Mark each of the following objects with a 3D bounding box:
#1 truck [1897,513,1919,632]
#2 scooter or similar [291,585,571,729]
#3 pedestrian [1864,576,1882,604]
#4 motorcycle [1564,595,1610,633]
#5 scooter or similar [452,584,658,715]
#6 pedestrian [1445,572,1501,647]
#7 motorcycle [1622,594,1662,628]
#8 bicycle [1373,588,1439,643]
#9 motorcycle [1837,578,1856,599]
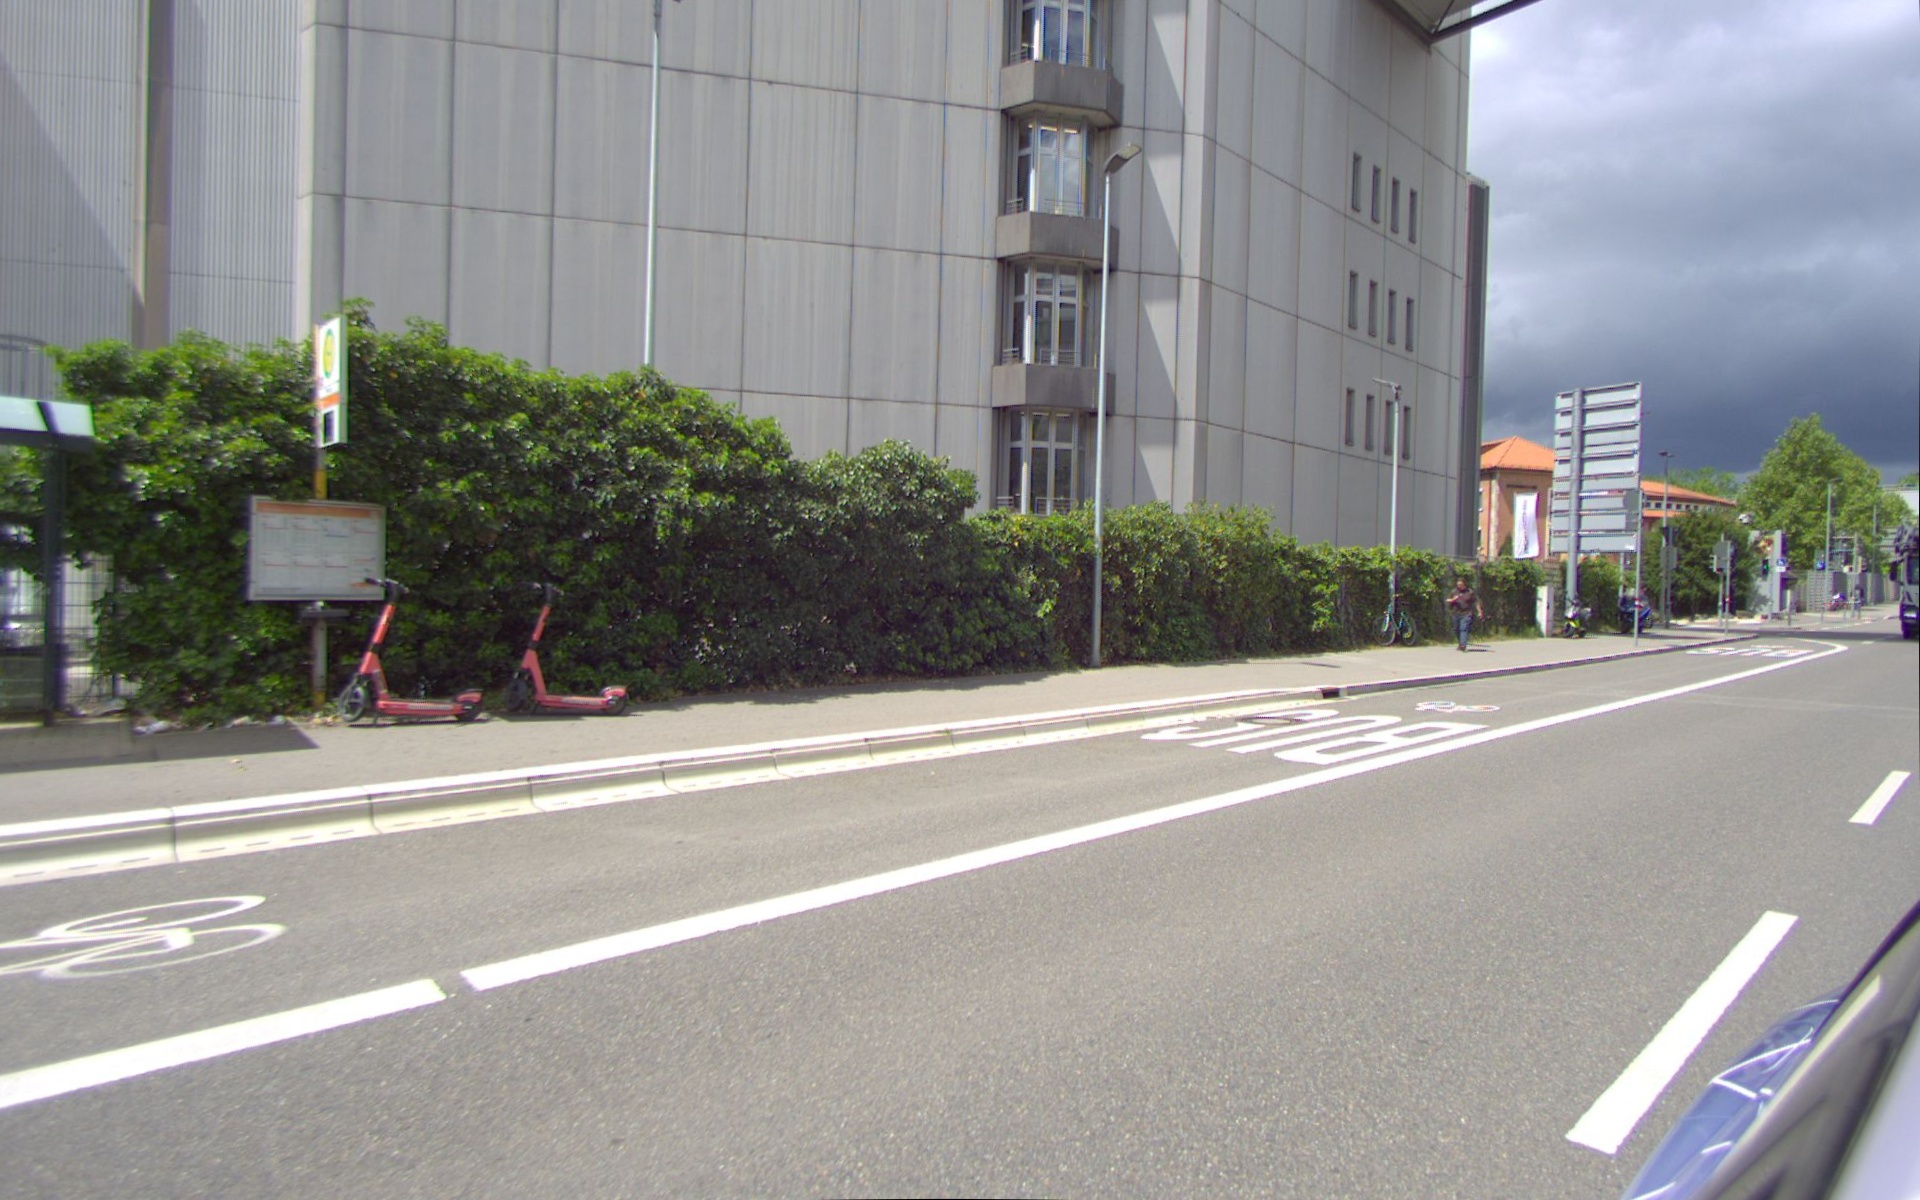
[{"bbox_3d":[36.241,-0.983,36.291,10.553,3.934,2.711,-1,1,-41],"label":"truck"},{"bbox_3d":[-4.545,0.479,8.827,2.083,1.177,0.544,1,1,-14],"label":"scooter or similar"},{"bbox_3d":[57.785,-0.636,64.073,0.998,1.788,0.728,-1,0,-41],"label":"pedestrian"},{"bbox_3d":[18.658,0.404,30.097,2.002,1.080,0.592,-1,2,-41],"label":"motorcycle"},{"bbox_3d":[-3.816,0.455,9.648,1.754,1.177,0.544,1,1,-14],"label":"scooter or similar"},{"bbox_3d":[11.764,0.197,23.216,0.981,1.665,0.810,-1,3,-43],"label":"pedestrian"},{"bbox_3d":[22.922,0.354,33.985,2.002,1.080,0.592,0,3,-41],"label":"motorcycle"},{"bbox_3d":[10.453,0.337,23.665,2.426,1.195,0.444,-1,0,-42],"label":"bicycle"},{"bbox_3d":[55.290,-0.732,63.121,2.138,1.241,0.570,-1,3,-41],"label":"motorcycle"}]
